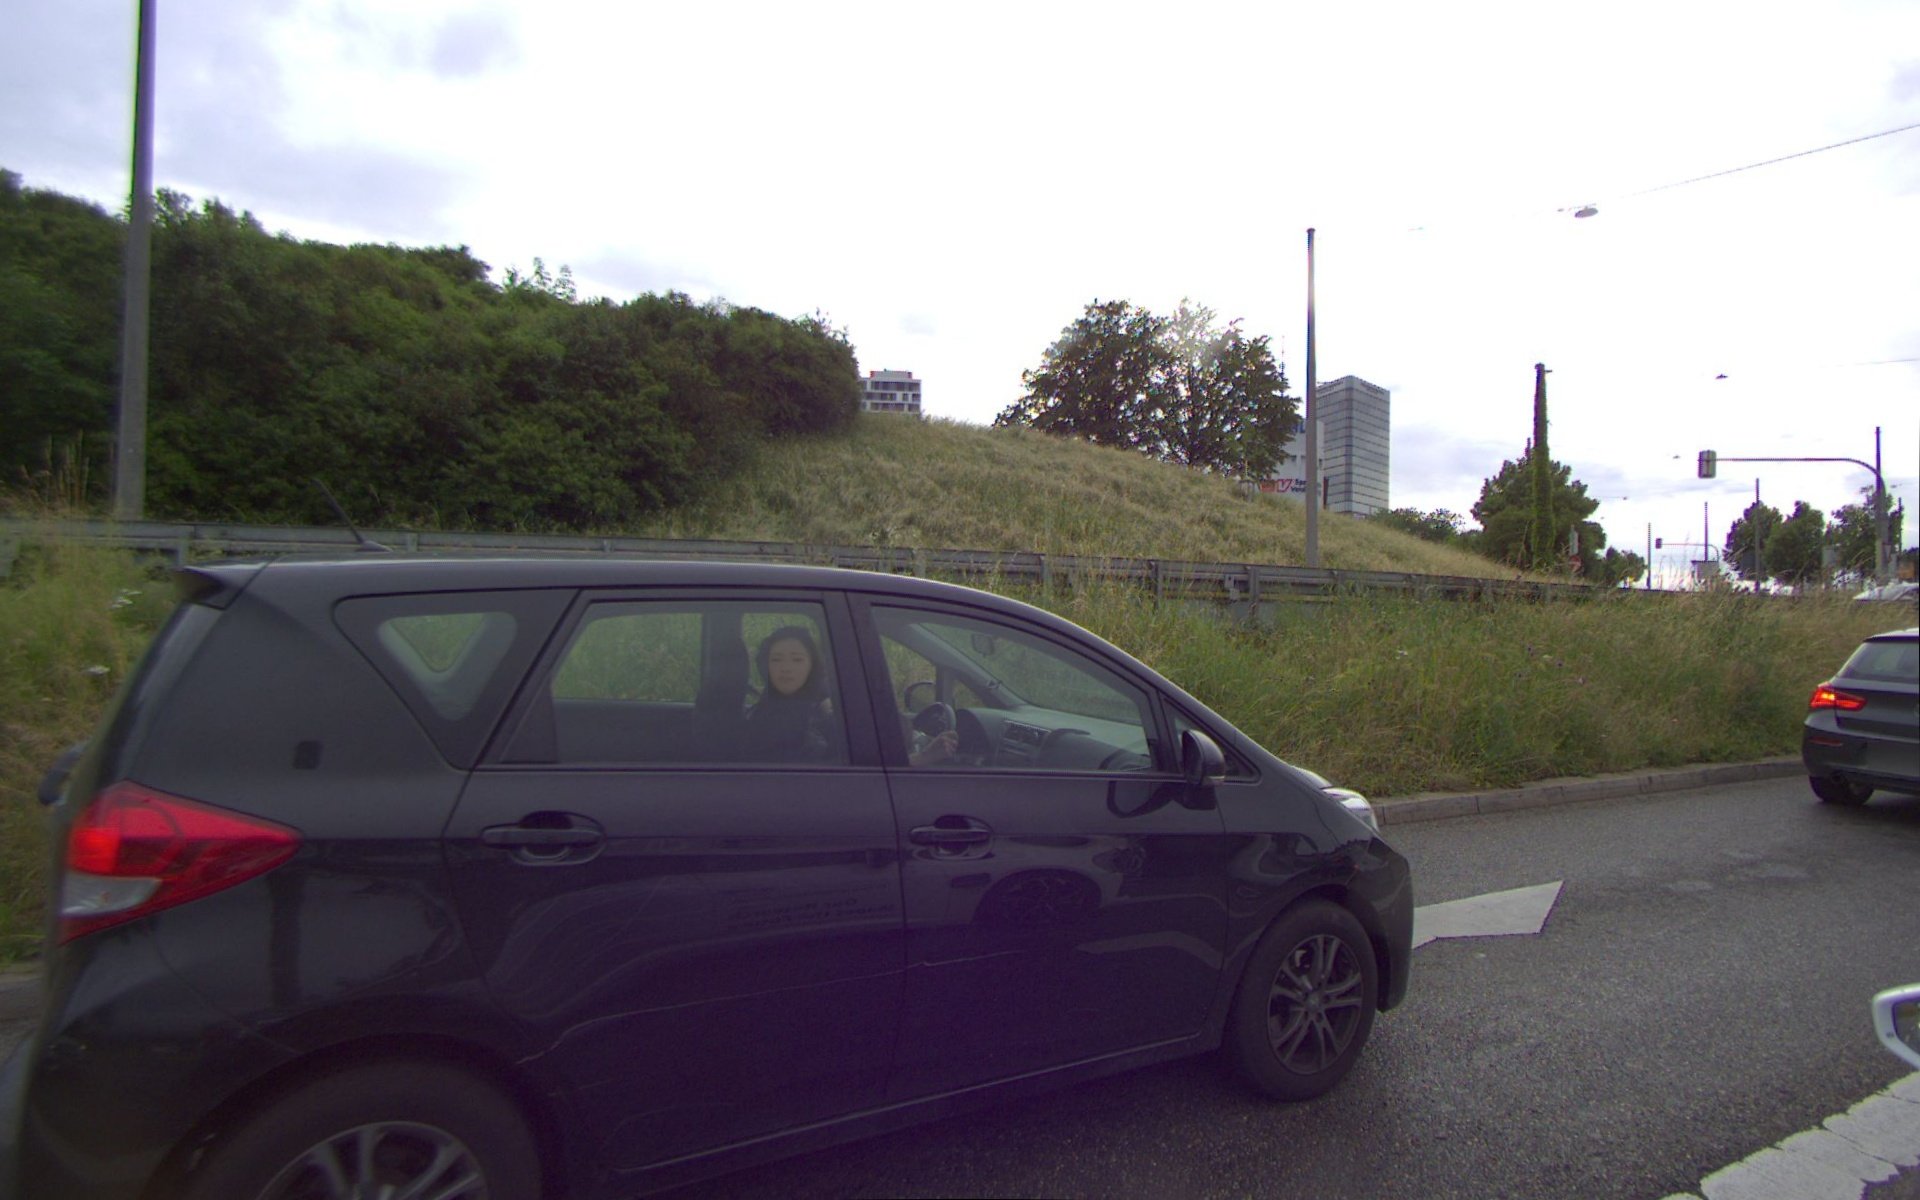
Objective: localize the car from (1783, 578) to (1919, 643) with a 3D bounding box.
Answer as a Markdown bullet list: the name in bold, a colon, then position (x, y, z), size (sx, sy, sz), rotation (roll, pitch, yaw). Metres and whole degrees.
- **car**: position (25.500, 0.321, 27.301), size (4.433, 1.642, 2.001), rotation (2, 0, 6)

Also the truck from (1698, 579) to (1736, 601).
- **truck**: position (119.265, -1.626, 158.275), size (3.206, 3.116, 6.171), rotation (4, 3, 23)

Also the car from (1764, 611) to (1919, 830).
- **car**: position (8.303, 0.848, 7.713), size (4.058, 1.479, 1.698), rotation (1, -1, -25)

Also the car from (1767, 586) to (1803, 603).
- **car**: position (96.084, -0.665, 117.068), size (2.095, 1.818, 4.737), rotation (2, -1, 25)

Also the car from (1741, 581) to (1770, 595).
- **car**: position (108.134, -1.600, 136.564), size (1.962, 1.681, 4.541), rotation (2, -1, 25)

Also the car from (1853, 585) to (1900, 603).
- **car**: position (84.432, -0.535, 92.624), size (1.962, 1.497, 4.417), rotation (2, -1, 25)

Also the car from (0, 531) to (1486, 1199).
- **car**: position (-0.330, 0.649, 3.100), size (3.732, 1.525, 1.634), rotation (1, 2, -29)
